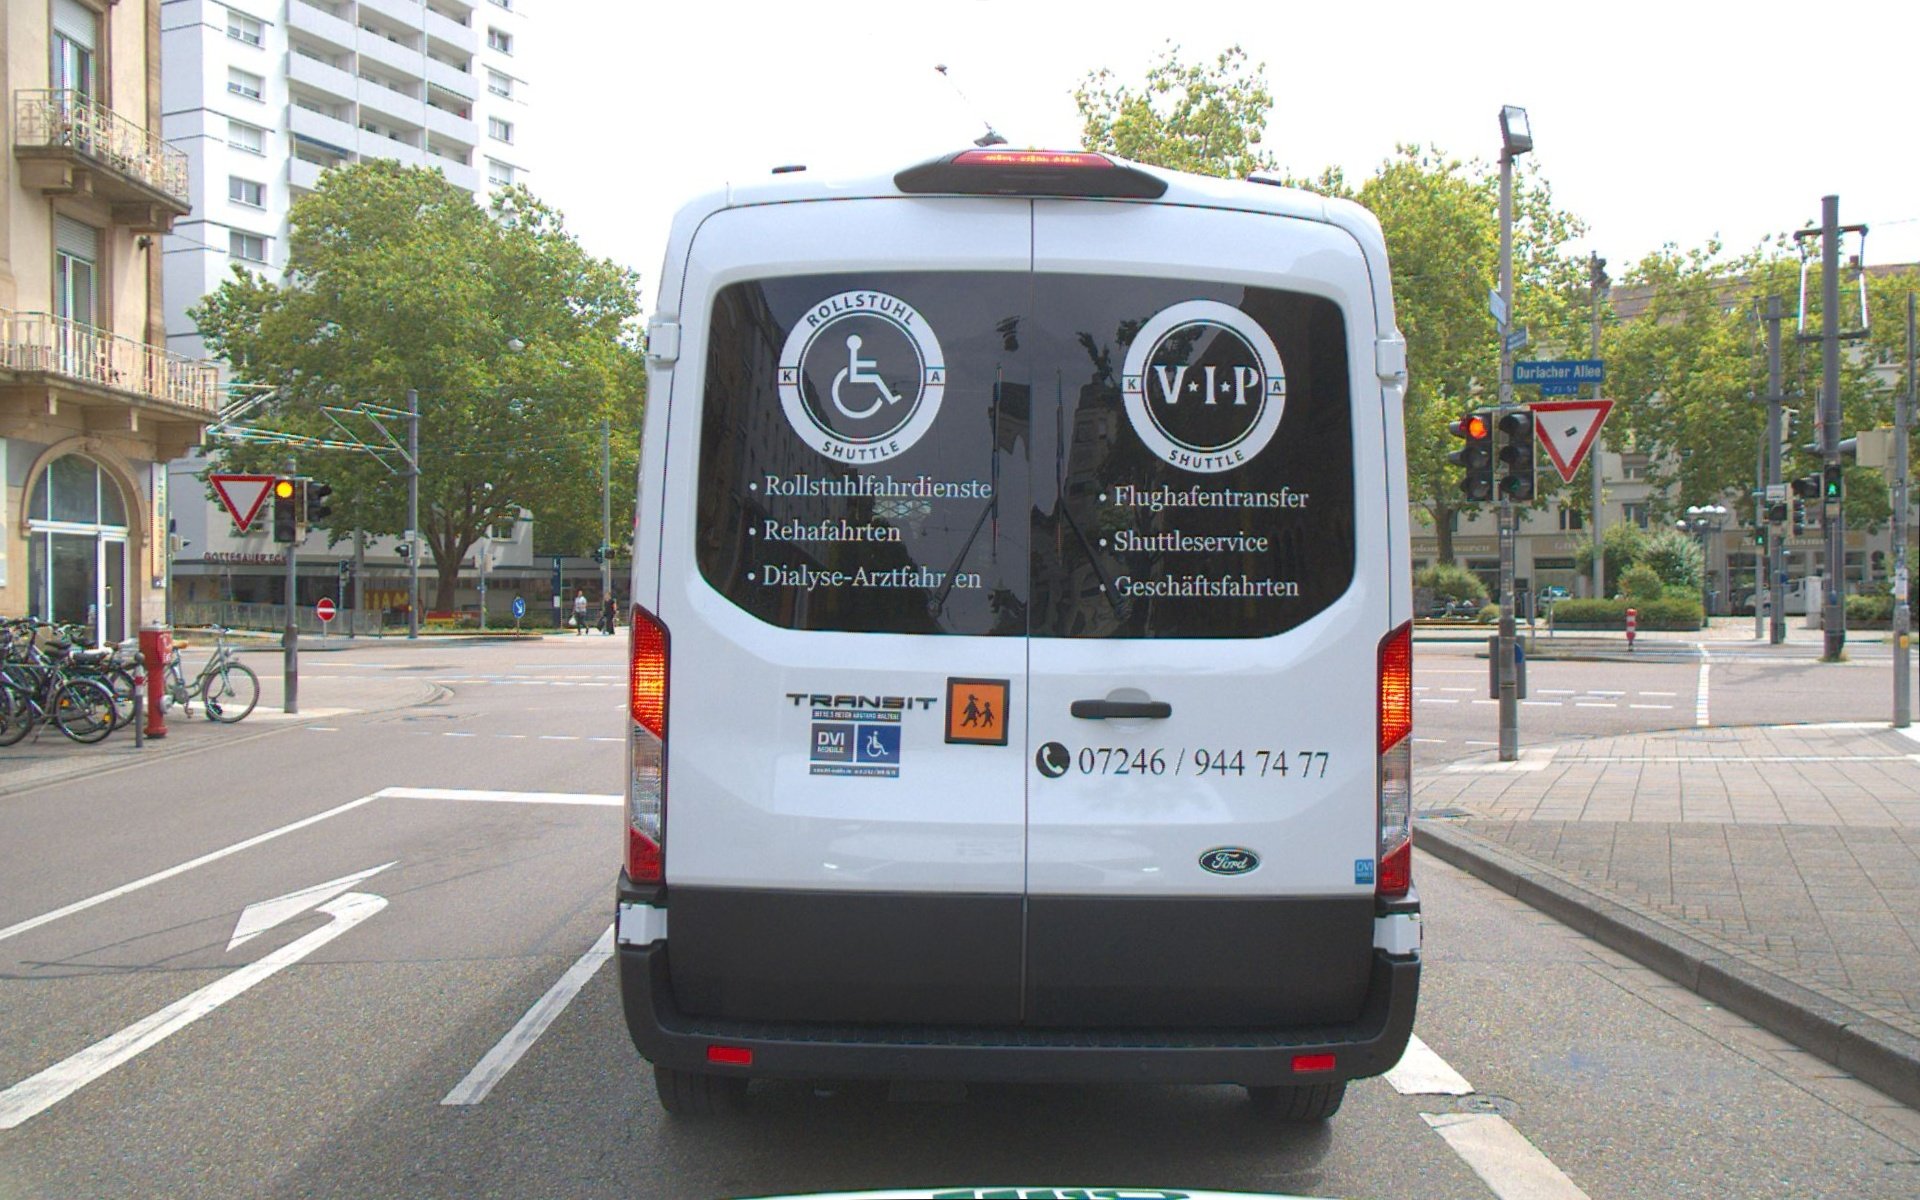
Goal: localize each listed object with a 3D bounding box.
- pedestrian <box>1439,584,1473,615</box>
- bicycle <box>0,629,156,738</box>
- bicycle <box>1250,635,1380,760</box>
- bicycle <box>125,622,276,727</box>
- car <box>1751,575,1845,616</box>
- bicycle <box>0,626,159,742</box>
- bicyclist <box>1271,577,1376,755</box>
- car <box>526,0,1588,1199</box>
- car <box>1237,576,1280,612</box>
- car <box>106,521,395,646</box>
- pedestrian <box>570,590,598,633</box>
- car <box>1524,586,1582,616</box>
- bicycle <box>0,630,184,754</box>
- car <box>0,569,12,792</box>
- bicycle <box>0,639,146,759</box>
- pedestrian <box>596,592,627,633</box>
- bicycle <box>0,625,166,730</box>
[{"bbox_3d":[21.209,-0.020,70.734,1.068,1.257,1.441,-2,-1,4],"label":"pedestrian"},{"bbox_3d":[-10.004,0.923,18.388,1.775,1.140,0.593,2,0,-9],"label":"bicycle"},{"bbox_3d":[3.572,0.931,16.496,0.884,1.094,1.969,0,0,24],"label":"bicycle"},{"bbox_3d":[-9.284,0.897,20.213,1.836,1.187,0.498,2,0,20],"label":"bicycle"},{"bbox_3d":[40.044,-0.209,79.130,3.907,1.916,1.857,-1,0,24],"label":"car"},{"bbox_3d":[-9.673,0.896,17.781,1.775,1.186,0.593,2,0,-9],"label":"bicycle"},{"bbox_3d":[3.638,0.635,16.522,0.886,1.713,0.756,0,0,25],"label":"bicyclist"},{"bbox_3d":[0.130,0.075,5.764,2.138,2.694,4.627,2,1,-2],"label":"car"},{"bbox_3d":[17.097,-0.345,94.835,1.951,1.964,4.002,-1,0,4],"label":"car"},{"bbox_3d":[-24.272,-0.537,56.496,9.686,3.984,3.454,0,0,24],"label":"car"},{"bbox_3d":[-14.063,0.419,61.866,0.790,1.600,0.724,0,0,16],"label":"pedestrian"},{"bbox_3d":[31.755,0.027,88.671,1.951,1.529,4.002,-1,0,4],"label":"car"},{"bbox_3d":[-9.048,0.937,17.053,1.771,1.140,0.594,3,0,3],"label":"bicycle"},{"bbox_3d":[-9.786,0.674,12.844,3.974,1.804,1.771,-1,1,-40],"label":"car"},{"bbox_3d":[-9.084,0.975,16.381,1.771,1.140,0.594,-1,0,6],"label":"bicycle"},{"bbox_3d":[-13.067,0.464,61.999,0.910,1.541,0.724,0,0,15],"label":"pedestrian"},{"bbox_3d":[-10.217,0.890,19.082,1.775,1.140,0.593,2,0,-9],"label":"bicycle"}]
